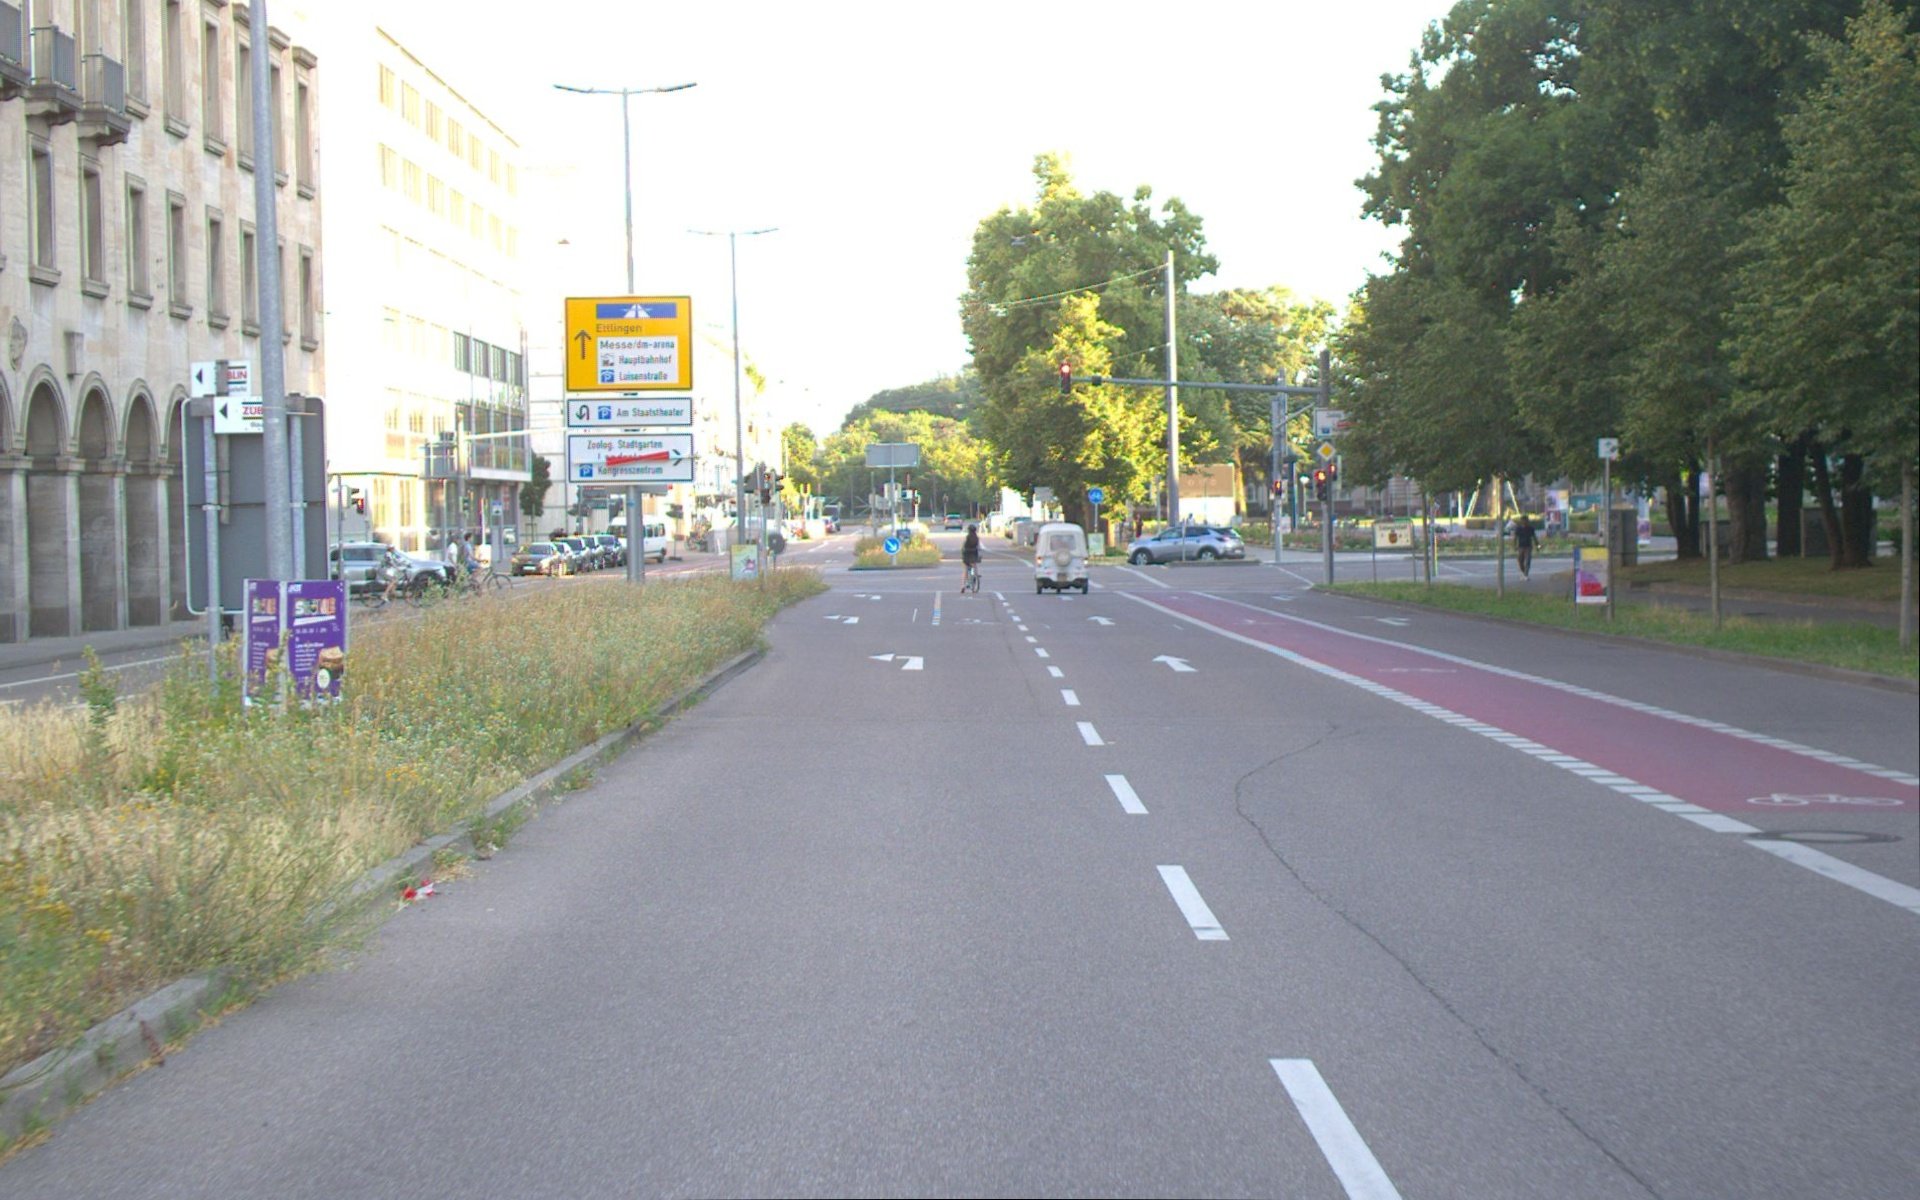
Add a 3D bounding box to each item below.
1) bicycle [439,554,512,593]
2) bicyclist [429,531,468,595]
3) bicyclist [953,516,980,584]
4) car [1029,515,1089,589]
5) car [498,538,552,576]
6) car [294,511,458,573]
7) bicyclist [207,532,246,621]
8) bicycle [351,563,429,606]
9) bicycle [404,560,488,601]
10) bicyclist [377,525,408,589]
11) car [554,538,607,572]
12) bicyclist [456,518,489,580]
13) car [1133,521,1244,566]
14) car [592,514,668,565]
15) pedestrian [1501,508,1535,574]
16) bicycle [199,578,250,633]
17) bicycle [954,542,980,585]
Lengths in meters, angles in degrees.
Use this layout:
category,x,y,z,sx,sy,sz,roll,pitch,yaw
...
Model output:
category,x,y,z,sx,sy,sz,roll,pitch,yaw
bicycle,-13.515,-0.739,95.876,1.897,1.065,0.731,0,1,3
bicyclist,-13.768,-0.993,92.612,0.747,1.687,0.764,-1,1,17
bicyclist,0.161,-1.267,86.972,0.628,1.687,0.748,-1,1,-1
car,2.508,-1.214,86.708,1.459,1.774,2.564,-1,2,2
car,-18.423,-1.809,145.644,1.796,1.470,4.000,-1,-1,-1
car,-16.731,-1.670,98.652,4.532,1.642,2.001,-1,1,-8
bicyclist,-13.966,-0.450,65.458,0.536,1.687,0.748,-1,1,0
bicycle,-15.141,-0.417,91.358,2.014,1.065,0.731,-2,1,-10
bicycle,-13.852,-0.530,92.637,2.059,1.065,0.786,-1,1,17
bicyclist,-15.092,-1.147,91.357,0.746,1.687,0.715,-1,1,-11
car,-17.993,-2.115,163.067,1.796,1.470,3.999,-1,-1,3
bicyclist,-13.586,-1.419,95.874,0.746,1.687,0.715,-1,1,3
car,8.338,-2.070,125.785,3.987,1.568,2.000,-1,1,3
car,-16.867,-3.064,176.047,2.177,2.377,5.986,-2,-1,11
pedestrian,14.463,-1.521,89.092,0.695,1.687,0.748,-1,1,-1
bicycle,-13.957,0.093,65.255,0.541,1.002,2.005,-1,1,-1
bicycle,0.175,-0.935,87.294,0.637,1.065,2.069,0,1,0
